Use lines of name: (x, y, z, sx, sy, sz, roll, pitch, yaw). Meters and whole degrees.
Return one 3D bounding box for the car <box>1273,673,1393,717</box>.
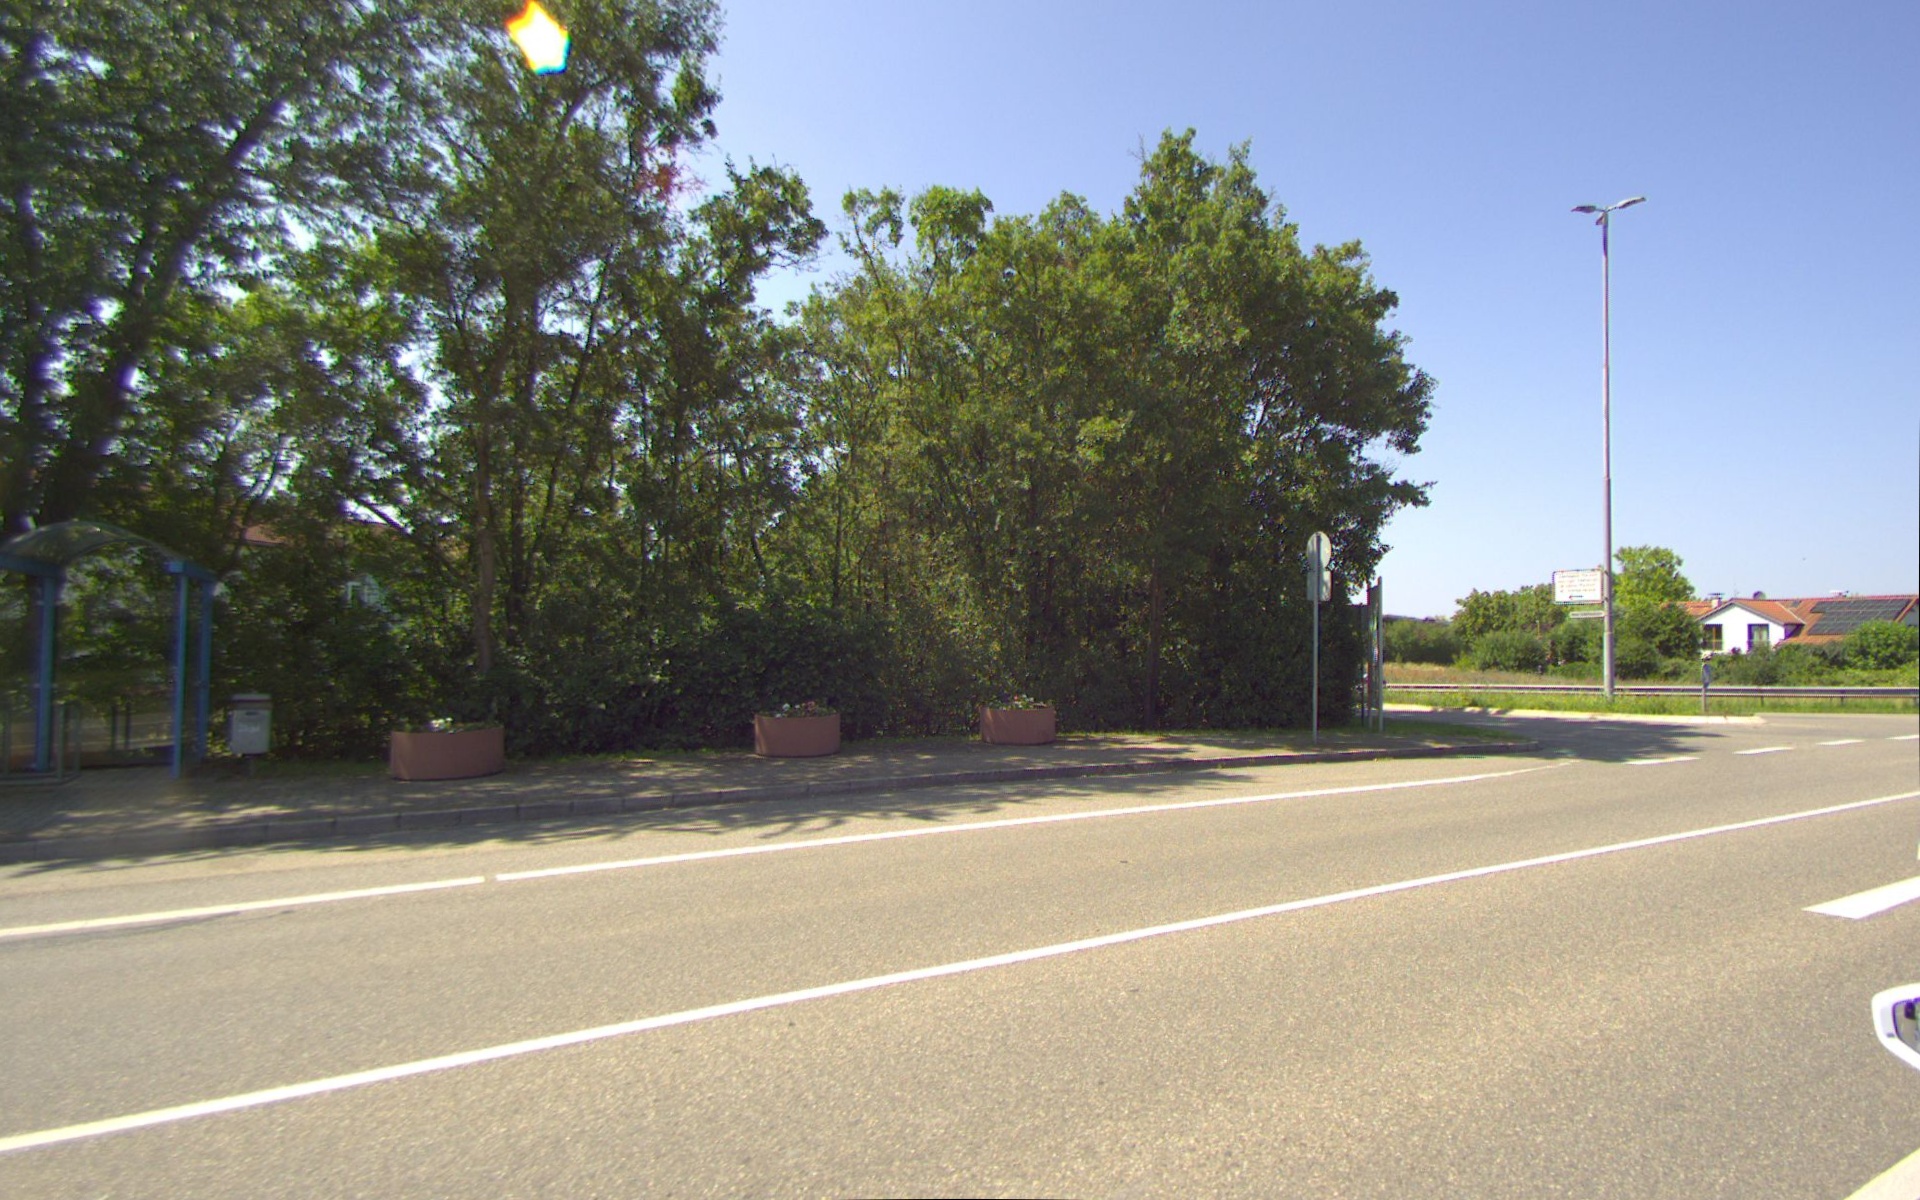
car: (14.271, 3.603, 38.665, 1.621, 1.490, 4.384, 1, -3, -28)
